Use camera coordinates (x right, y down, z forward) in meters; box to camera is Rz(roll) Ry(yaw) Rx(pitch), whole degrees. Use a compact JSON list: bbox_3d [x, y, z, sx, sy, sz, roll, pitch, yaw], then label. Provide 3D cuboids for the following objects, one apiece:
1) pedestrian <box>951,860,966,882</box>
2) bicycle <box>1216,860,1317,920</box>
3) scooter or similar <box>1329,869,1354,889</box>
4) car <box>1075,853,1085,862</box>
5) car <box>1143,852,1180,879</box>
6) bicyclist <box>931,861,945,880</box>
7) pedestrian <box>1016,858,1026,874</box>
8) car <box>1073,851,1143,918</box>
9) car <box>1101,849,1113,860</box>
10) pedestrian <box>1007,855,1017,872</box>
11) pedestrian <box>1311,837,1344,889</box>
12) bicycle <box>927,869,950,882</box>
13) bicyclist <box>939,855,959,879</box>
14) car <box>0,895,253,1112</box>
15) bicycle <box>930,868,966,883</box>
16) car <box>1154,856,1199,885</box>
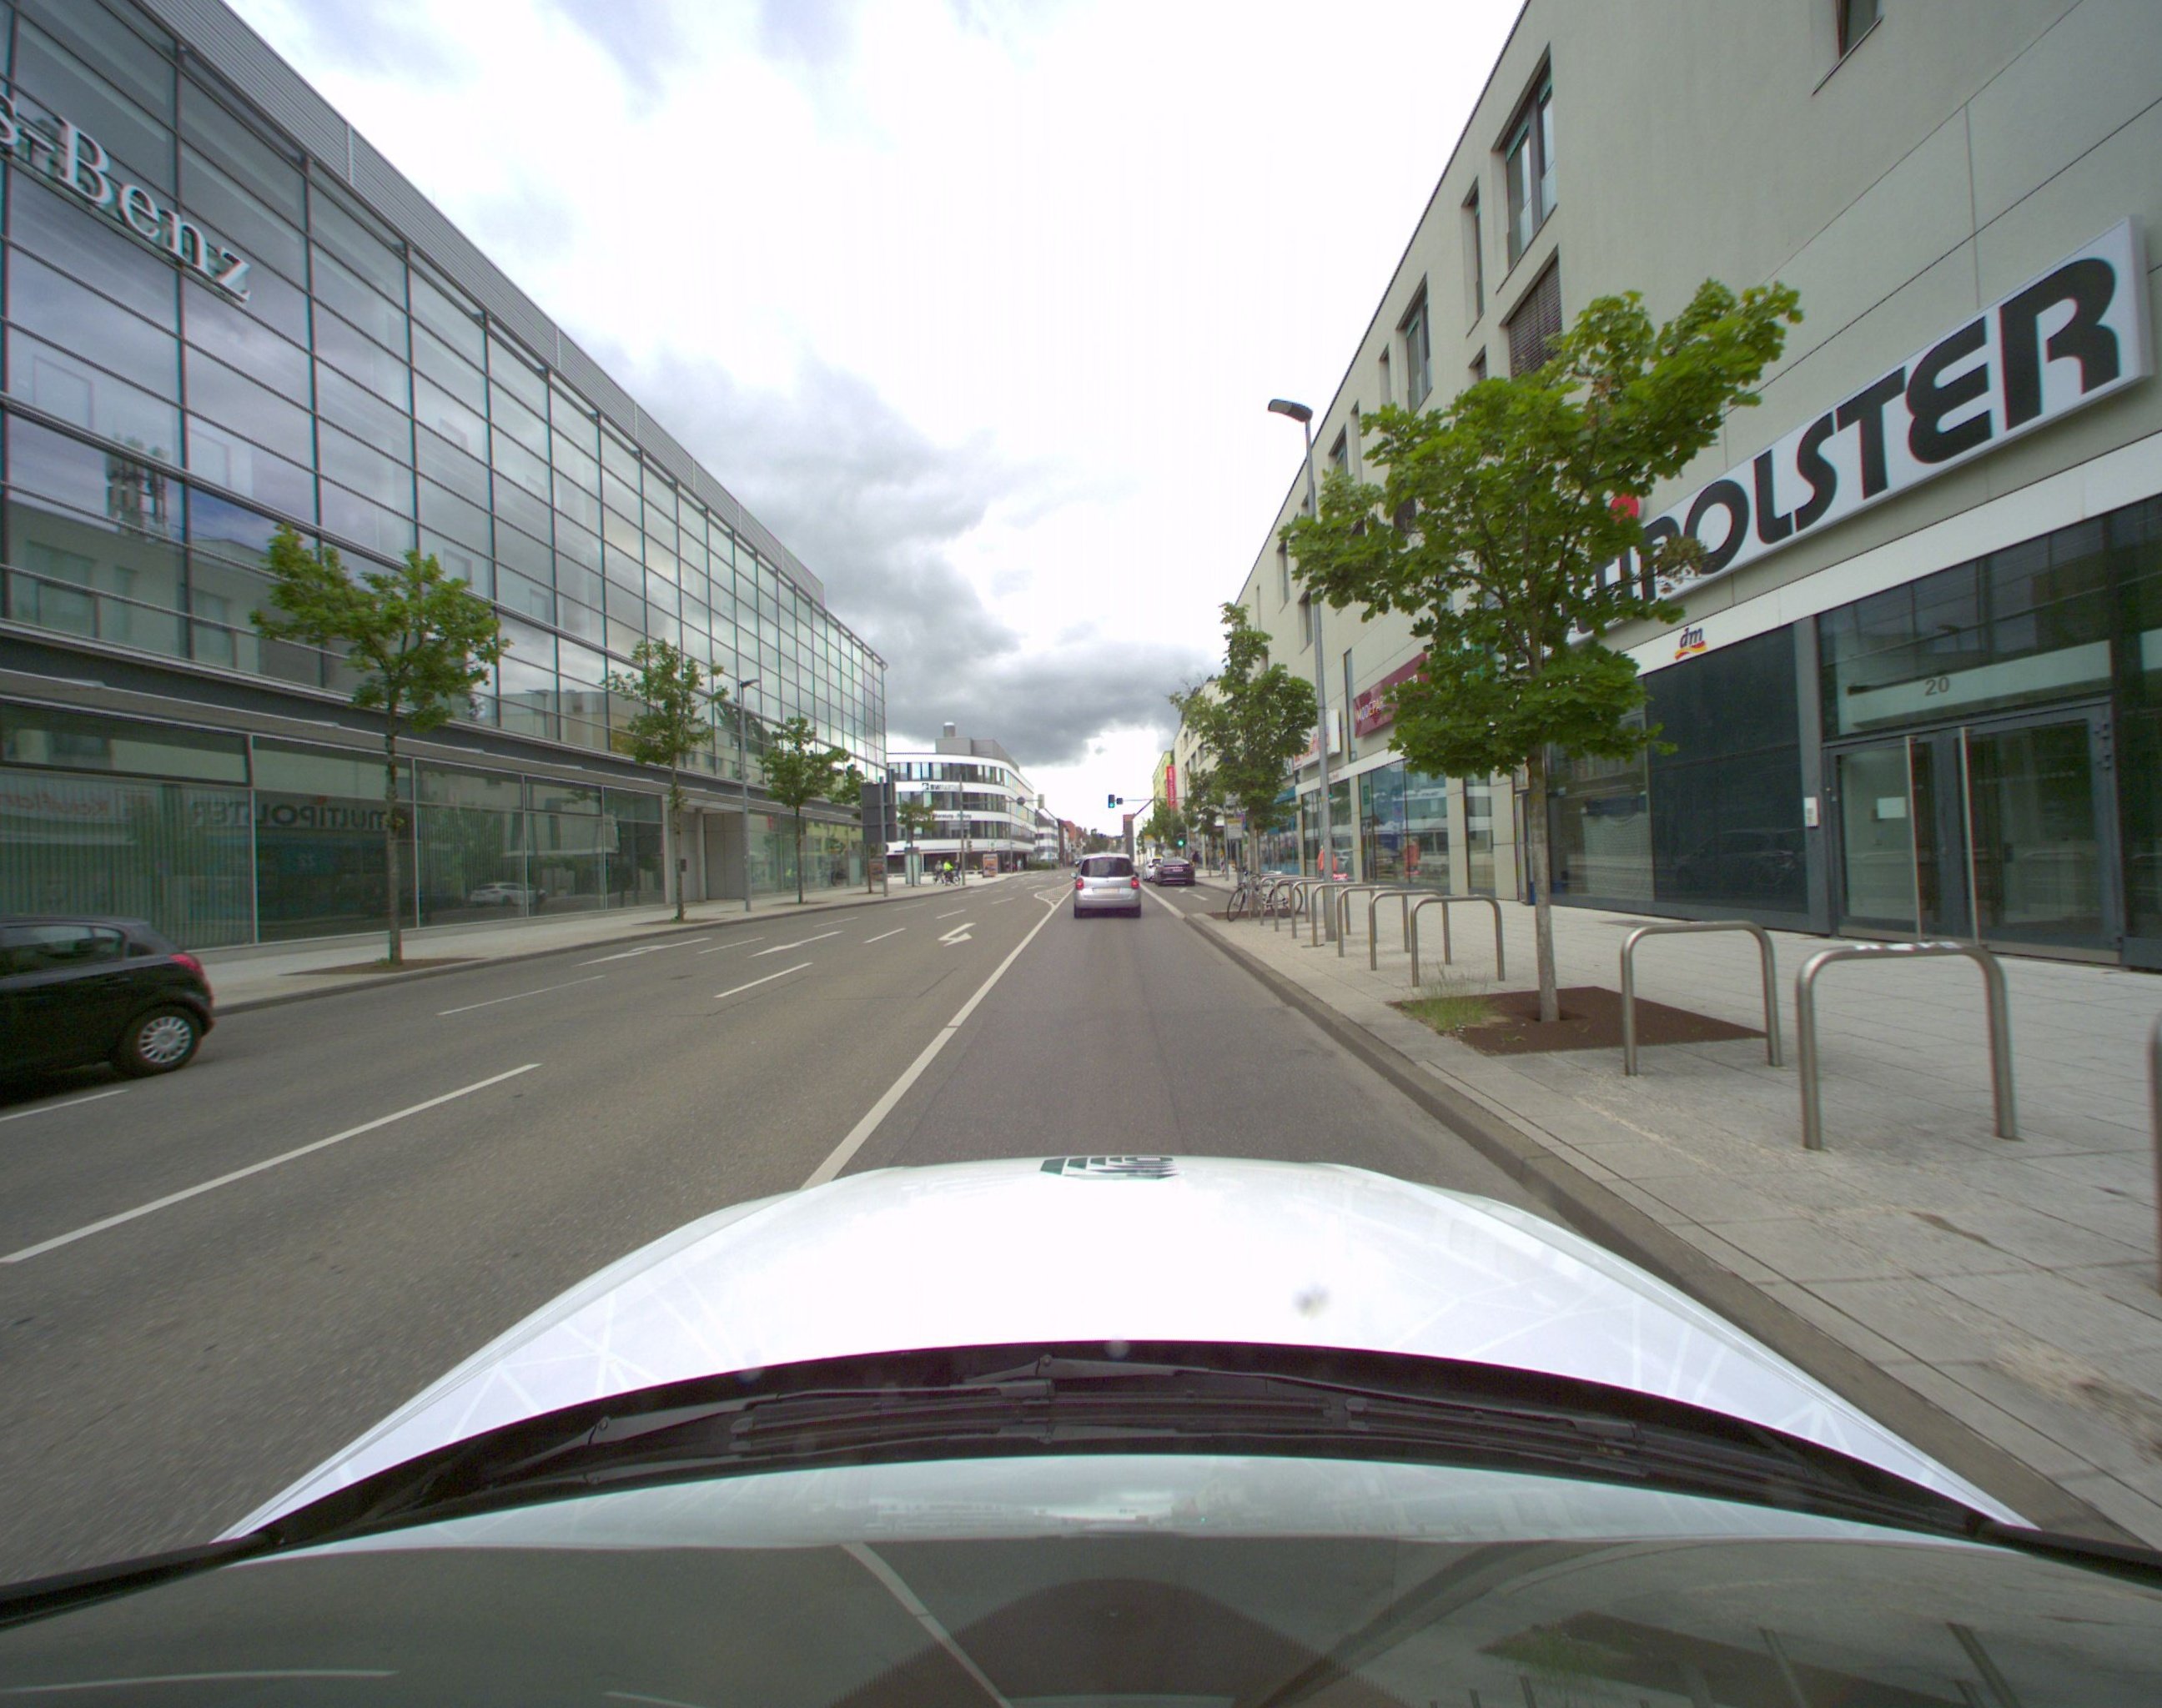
[{"bbox_3d":[-11.028,1.523,73.378,1.244,1.833,0.962,-3,0,-5],"label":"pedestrian"},{"bbox_3d":[3.737,0.709,16.519,1.819,1.074,0.752,-4,0,-1],"label":"bicycle"},{"bbox_3d":[8.067,0.773,25.228,0.548,0.546,0.642,-5,0,1],"label":"scooter or similar"},{"bbox_3d":[-0.181,0.859,200.837,2.162,2.013,4.260,-3,0,2],"label":"car"},{"bbox_3d":[4.605,0.624,47.217,1.870,1.508,4.002,0,0,2],"label":"car"},{"bbox_3d":[-10.443,1.202,59.498,0.832,1.327,0.645,-2,0,-32],"label":"bicyclist"},{"bbox_3d":[-7.448,1.484,100.765,0.957,1.833,1.251,-3,0,1],"label":"pedestrian"},{"bbox_3d":[0.621,0.718,21.116,1.665,1.554,3.640,0,0,-1],"label":"car"},{"bbox_3d":[4.882,0.065,155.330,2.162,2.013,4.260,-3,0,2],"label":"car"},{"bbox_3d":[-7.939,1.066,93.509,0.957,1.833,1.251,-3,0,1],"label":"pedestrian"},{"bbox_3d":[7.885,0.280,26.096,0.708,1.574,0.813,-5,0,1],"label":"pedestrian"},{"bbox_3d":[-10.433,1.598,59.503,0.832,0.898,2.500,-2,0,-31],"label":"bicycle"},{"bbox_3d":[-8.985,0.889,55.539,1.014,1.660,0.922,0,-1,-39],"label":"bicyclist"},{"bbox_3d":[-8.699,1.179,5.701,1.655,1.480,3.999,-3,0,-1],"label":"car"},{"bbox_3d":[-9.106,1.462,55.681,1.014,1.018,3.094,0,-1,-39],"label":"bicycle"},{"bbox_3d":[4.717,0.800,40.750,1.870,1.335,4.002,0,0,2],"label":"car"}]
